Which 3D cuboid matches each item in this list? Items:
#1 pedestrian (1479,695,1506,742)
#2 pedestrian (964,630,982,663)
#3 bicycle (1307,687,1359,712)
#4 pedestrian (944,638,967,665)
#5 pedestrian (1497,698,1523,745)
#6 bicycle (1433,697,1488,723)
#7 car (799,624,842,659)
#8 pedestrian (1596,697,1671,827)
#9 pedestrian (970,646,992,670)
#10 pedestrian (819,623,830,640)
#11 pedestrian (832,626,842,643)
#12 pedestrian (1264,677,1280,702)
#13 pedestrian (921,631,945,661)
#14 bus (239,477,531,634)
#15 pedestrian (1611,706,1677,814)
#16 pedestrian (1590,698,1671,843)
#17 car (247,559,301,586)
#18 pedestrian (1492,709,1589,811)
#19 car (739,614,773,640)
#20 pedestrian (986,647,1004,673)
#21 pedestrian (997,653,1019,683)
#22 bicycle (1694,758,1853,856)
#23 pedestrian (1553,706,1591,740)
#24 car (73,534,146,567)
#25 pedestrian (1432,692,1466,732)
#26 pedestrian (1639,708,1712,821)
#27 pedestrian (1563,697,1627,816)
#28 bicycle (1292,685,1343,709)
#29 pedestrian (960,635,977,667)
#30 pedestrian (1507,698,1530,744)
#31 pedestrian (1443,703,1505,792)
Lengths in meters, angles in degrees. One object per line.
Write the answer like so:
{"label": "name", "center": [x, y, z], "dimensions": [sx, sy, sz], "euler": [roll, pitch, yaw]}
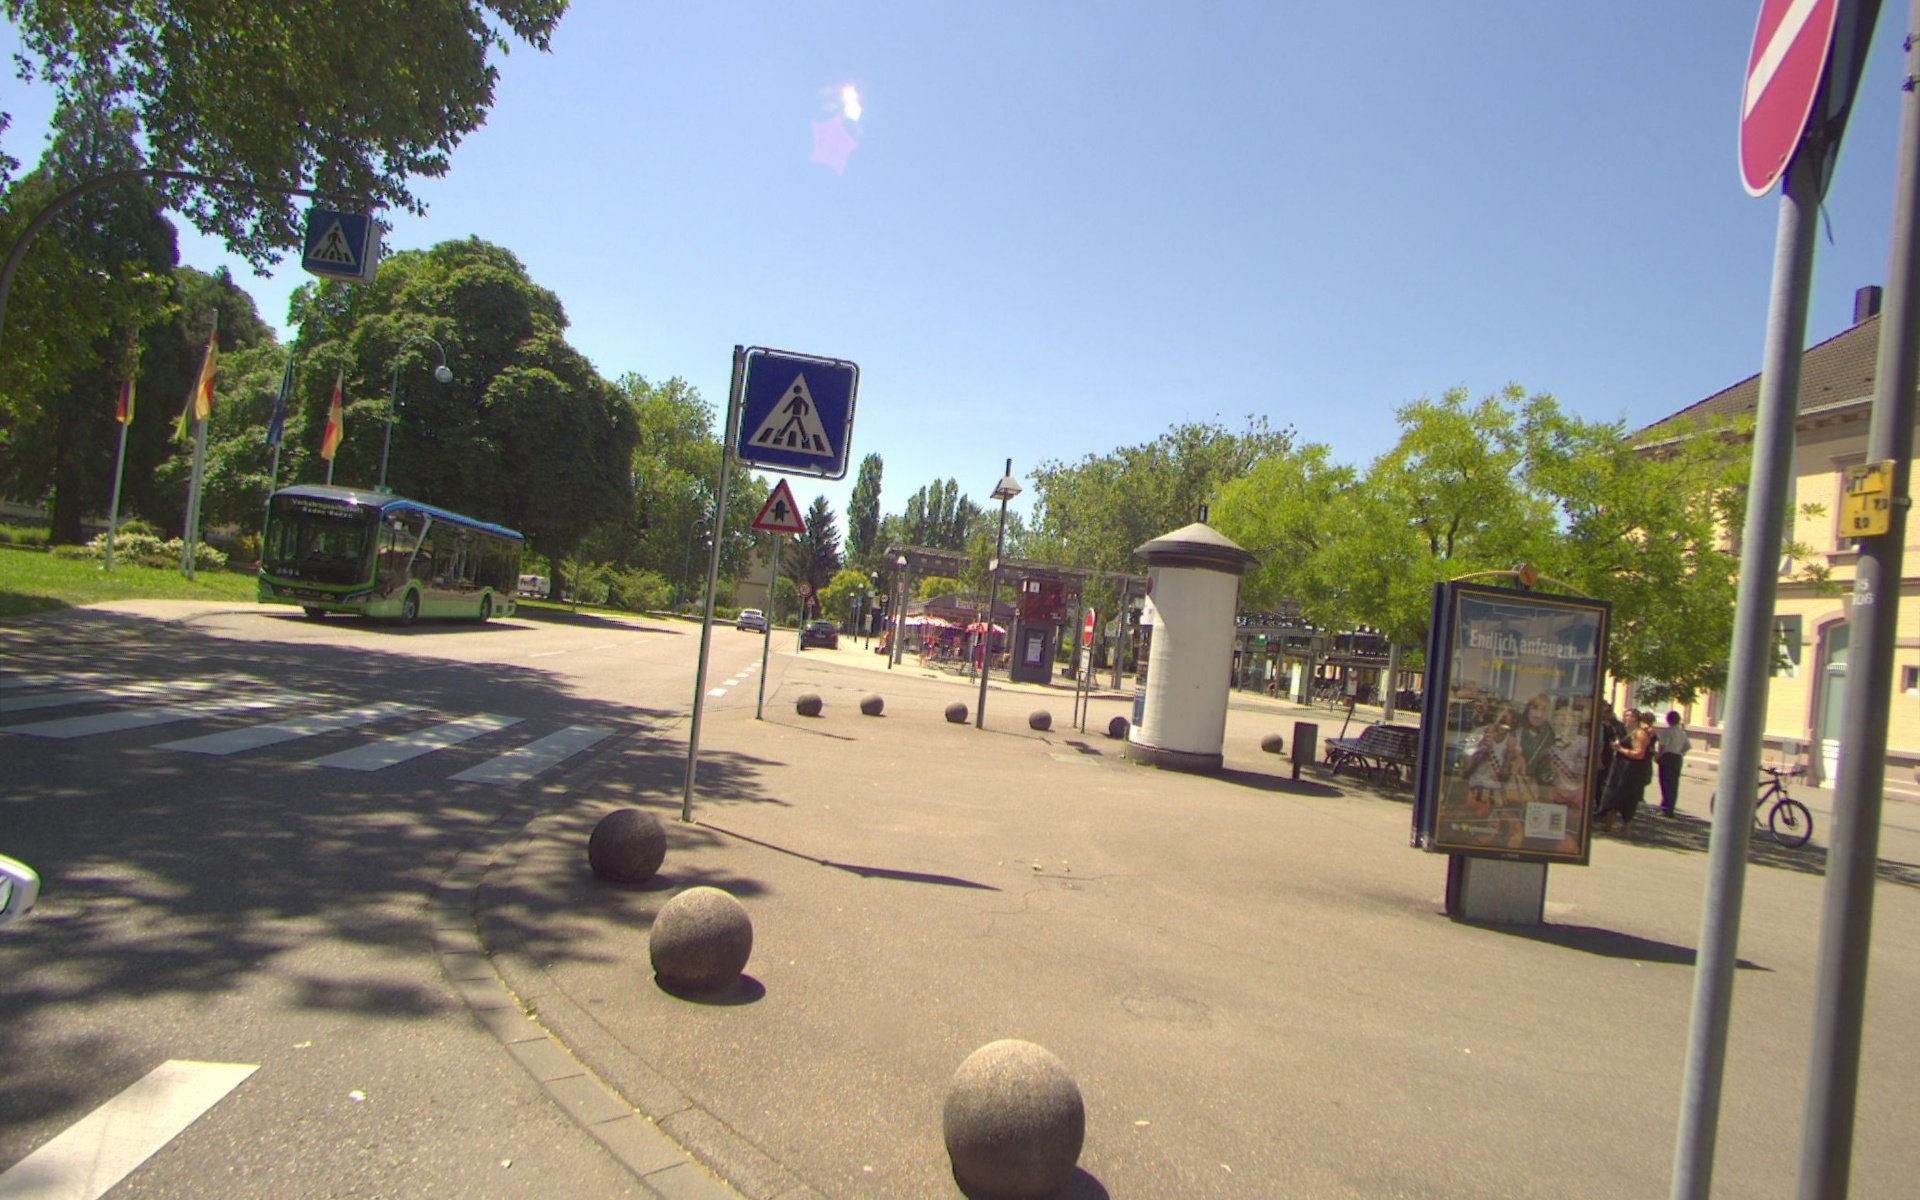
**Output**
{"label": "pedestrian", "center": [21.818, 4.856, 41.257], "dimensions": [0.677, 1.830, 0.632], "euler": [6, -1, 13]}
{"label": "pedestrian", "center": [0.723, 2.601, 56.383], "dimensions": [0.677, 1.756, 0.707], "euler": [7, -3, -8]}
{"label": "bicycle", "center": [21.780, 5.780, 58.701], "dimensions": [2.751, 1.014, 0.810], "euler": [9, -3, -10]}
{"label": "pedestrian", "center": [-0.264, 2.764, 54.318], "dimensions": [0.889, 1.328, 0.680], "euler": [8, -2, -43]}
{"label": "pedestrian", "center": [22.494, 4.969, 41.144], "dimensions": [0.619, 1.830, 0.597], "euler": [6, -1, 13]}
{"label": "bicycle", "center": [29.089, 6.395, 58.513], "dimensions": [2.751, 1.014, 0.966], "euler": [9, -3, -10]}
{"label": "car", "center": [-6.895, 2.016, 49.552], "dimensions": [1.899, 1.478, 4.721], "euler": [4, -2, -9]}
{"label": "pedestrian", "center": [9.726, 2.333, 14.525], "dimensions": [0.579, 1.760, 0.595], "euler": [7, -1, -34]}
{"label": "pedestrian", "center": [1.144, 3.125, 54.423], "dimensions": [0.889, 1.174, 0.680], "euler": [8, -2, -43]}
{"label": "pedestrian", "center": [-14.494, 3.395, 107.539], "dimensions": [0.626, 1.667, 0.752], "euler": [6, -3, 20]}
{"label": "pedestrian", "center": [-13.385, 3.731, 109.489], "dimensions": [0.709, 1.667, 0.752], "euler": [6, -3, 20]}
{"label": "pedestrian", "center": [18.593, 5.327, 59.955], "dimensions": [0.616, 1.411, 0.676], "euler": [5, -2, -8]}
{"label": "pedestrian", "center": [-1.433, 2.419, 52.539], "dimensions": [0.680, 1.434, 0.890], "euler": [5, -2, 44]}
{"label": "bus", "center": [-16.016, -0.881, 29.622], "dimensions": [2.770, 3.320, 12.415], "euler": [7, -2, -8]}
{"label": "pedestrian", "center": [11.551, 2.696, 17.007], "dimensions": [0.547, 1.705, 0.585], "euler": [7, -1, -20]}
{"label": "pedestrian", "center": [8.635, 2.186, 12.958], "dimensions": [0.622, 1.760, 0.543], "euler": [7, -1, -34]}
{"label": "car", "center": [-63.699, -2.564, 93.502], "dimensions": [1.841, 1.857, 4.006], "euler": [8, -3, 3]}
{"label": "pedestrian", "center": [9.020, 2.479, 15.644], "dimensions": [0.905, 1.402, 0.934], "euler": [8, -2, -38]}
{"label": "car", "center": [-15.019, 1.983, 74.232], "dimensions": [1.954, 1.646, 4.775], "euler": [7, -2, -7]}
{"label": "pedestrian", "center": [1.751, 2.996, 50.449], "dimensions": [0.676, 1.174, 0.895], "euler": [7, -2, -4]}
{"label": "pedestrian", "center": [2.294, 3.257, 48.293], "dimensions": [0.833, 1.292, 0.895], "euler": [7, -1, -4]}
{"label": "bicycle", "center": [11.887, 2.995, 14.786], "dimensions": [0.414, 1.072, 1.947], "euler": [7, -2, -10]}
{"label": "pedestrian", "center": [26.326, 5.298, 43.298], "dimensions": [1.040, 1.369, 0.971], "euler": [5, -3, -29]}
{"label": "car", "center": [-65.265, -3.782, 77.267], "dimensions": [1.841, 1.770, 4.006], "euler": [8, -3, 3]}
{"label": "pedestrian", "center": [22.165, 5.070, 45.578], "dimensions": [0.911, 1.609, 0.855], "euler": [7, -1, -13]}
{"label": "pedestrian", "center": [11.567, 2.655, 16.272], "dimensions": [0.610, 1.705, 0.588], "euler": [7, -1, -20]}
{"label": "pedestrian", "center": [9.926, 2.432, 15.722], "dimensions": [0.508, 1.760, 0.565], "euler": [7, -1, -37]}
{"label": "bicycle", "center": [21.293, 5.784, 59.990], "dimensions": [2.751, 1.014, 0.810], "euler": [9, -3, -10]}
{"label": "pedestrian", "center": [0.484, 2.917, 57.815], "dimensions": [0.677, 1.758, 0.706], "euler": [7, -1, -8]}
{"label": "pedestrian", "center": [23.077, 4.985, 41.575], "dimensions": [0.541, 1.830, 0.499], "euler": [6, -1, 12]}
{"label": "pedestrian", "center": [8.574, 2.460, 16.780], "dimensions": [0.594, 1.380, 0.594], "euler": [7, -1, -36]}
